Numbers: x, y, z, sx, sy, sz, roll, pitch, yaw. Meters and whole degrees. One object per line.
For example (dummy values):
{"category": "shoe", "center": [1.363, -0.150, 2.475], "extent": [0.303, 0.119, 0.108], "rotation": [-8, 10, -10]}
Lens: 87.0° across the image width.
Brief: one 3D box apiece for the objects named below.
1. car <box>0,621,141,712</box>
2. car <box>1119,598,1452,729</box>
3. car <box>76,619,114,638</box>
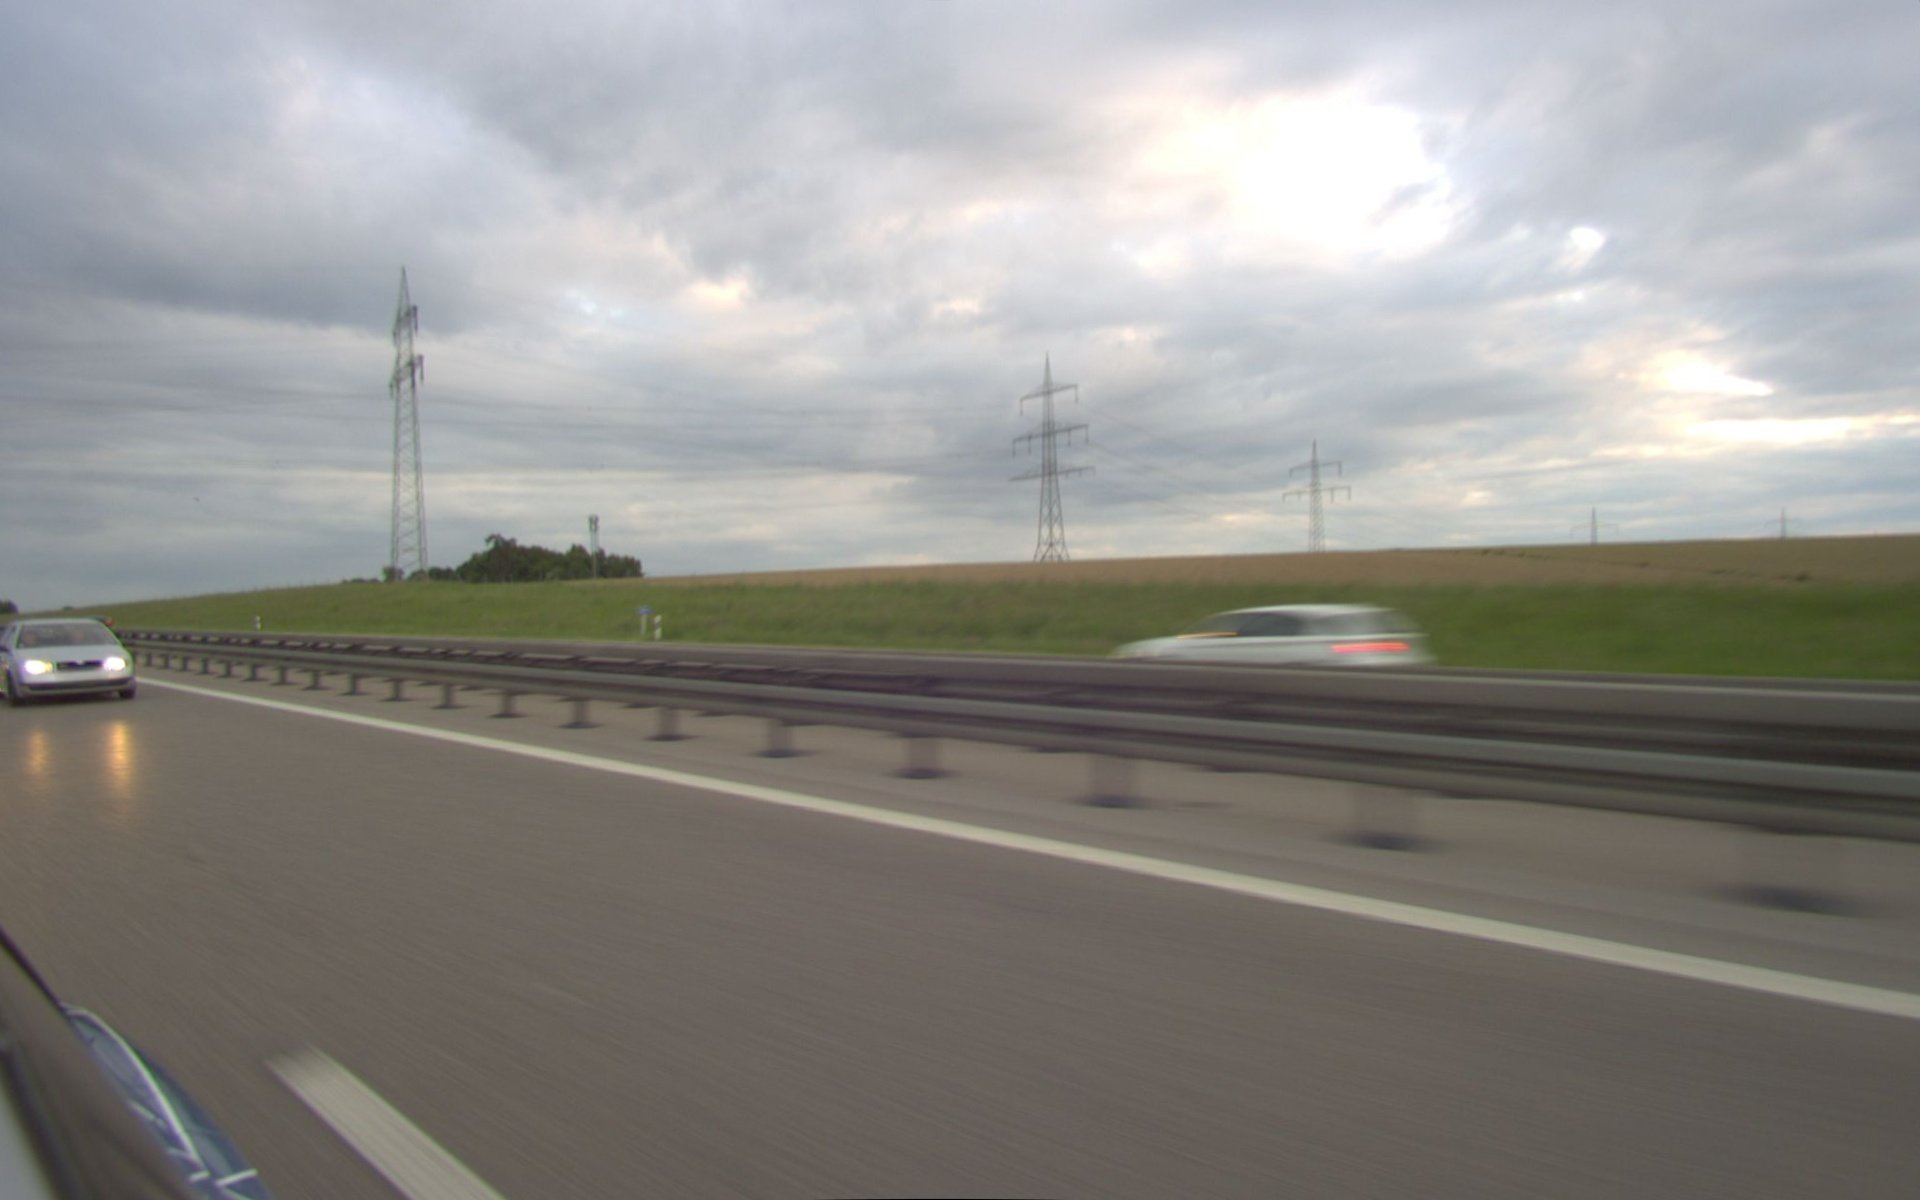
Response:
{"category": "car", "center": [-15.894, 1.075, 17.693], "extent": [4.597, 1.400, 1.572], "rotation": [-1, -2, 40]}
{"category": "car", "center": [4.947, 0.909, 15.789], "extent": [4.587, 1.712, 1.772], "rotation": [-2, 1, 41]}
{"category": "car", "center": [-69.808, 2.327, 81.680], "extent": [4.008, 1.370, 1.657], "rotation": [-2, 2, 40]}
